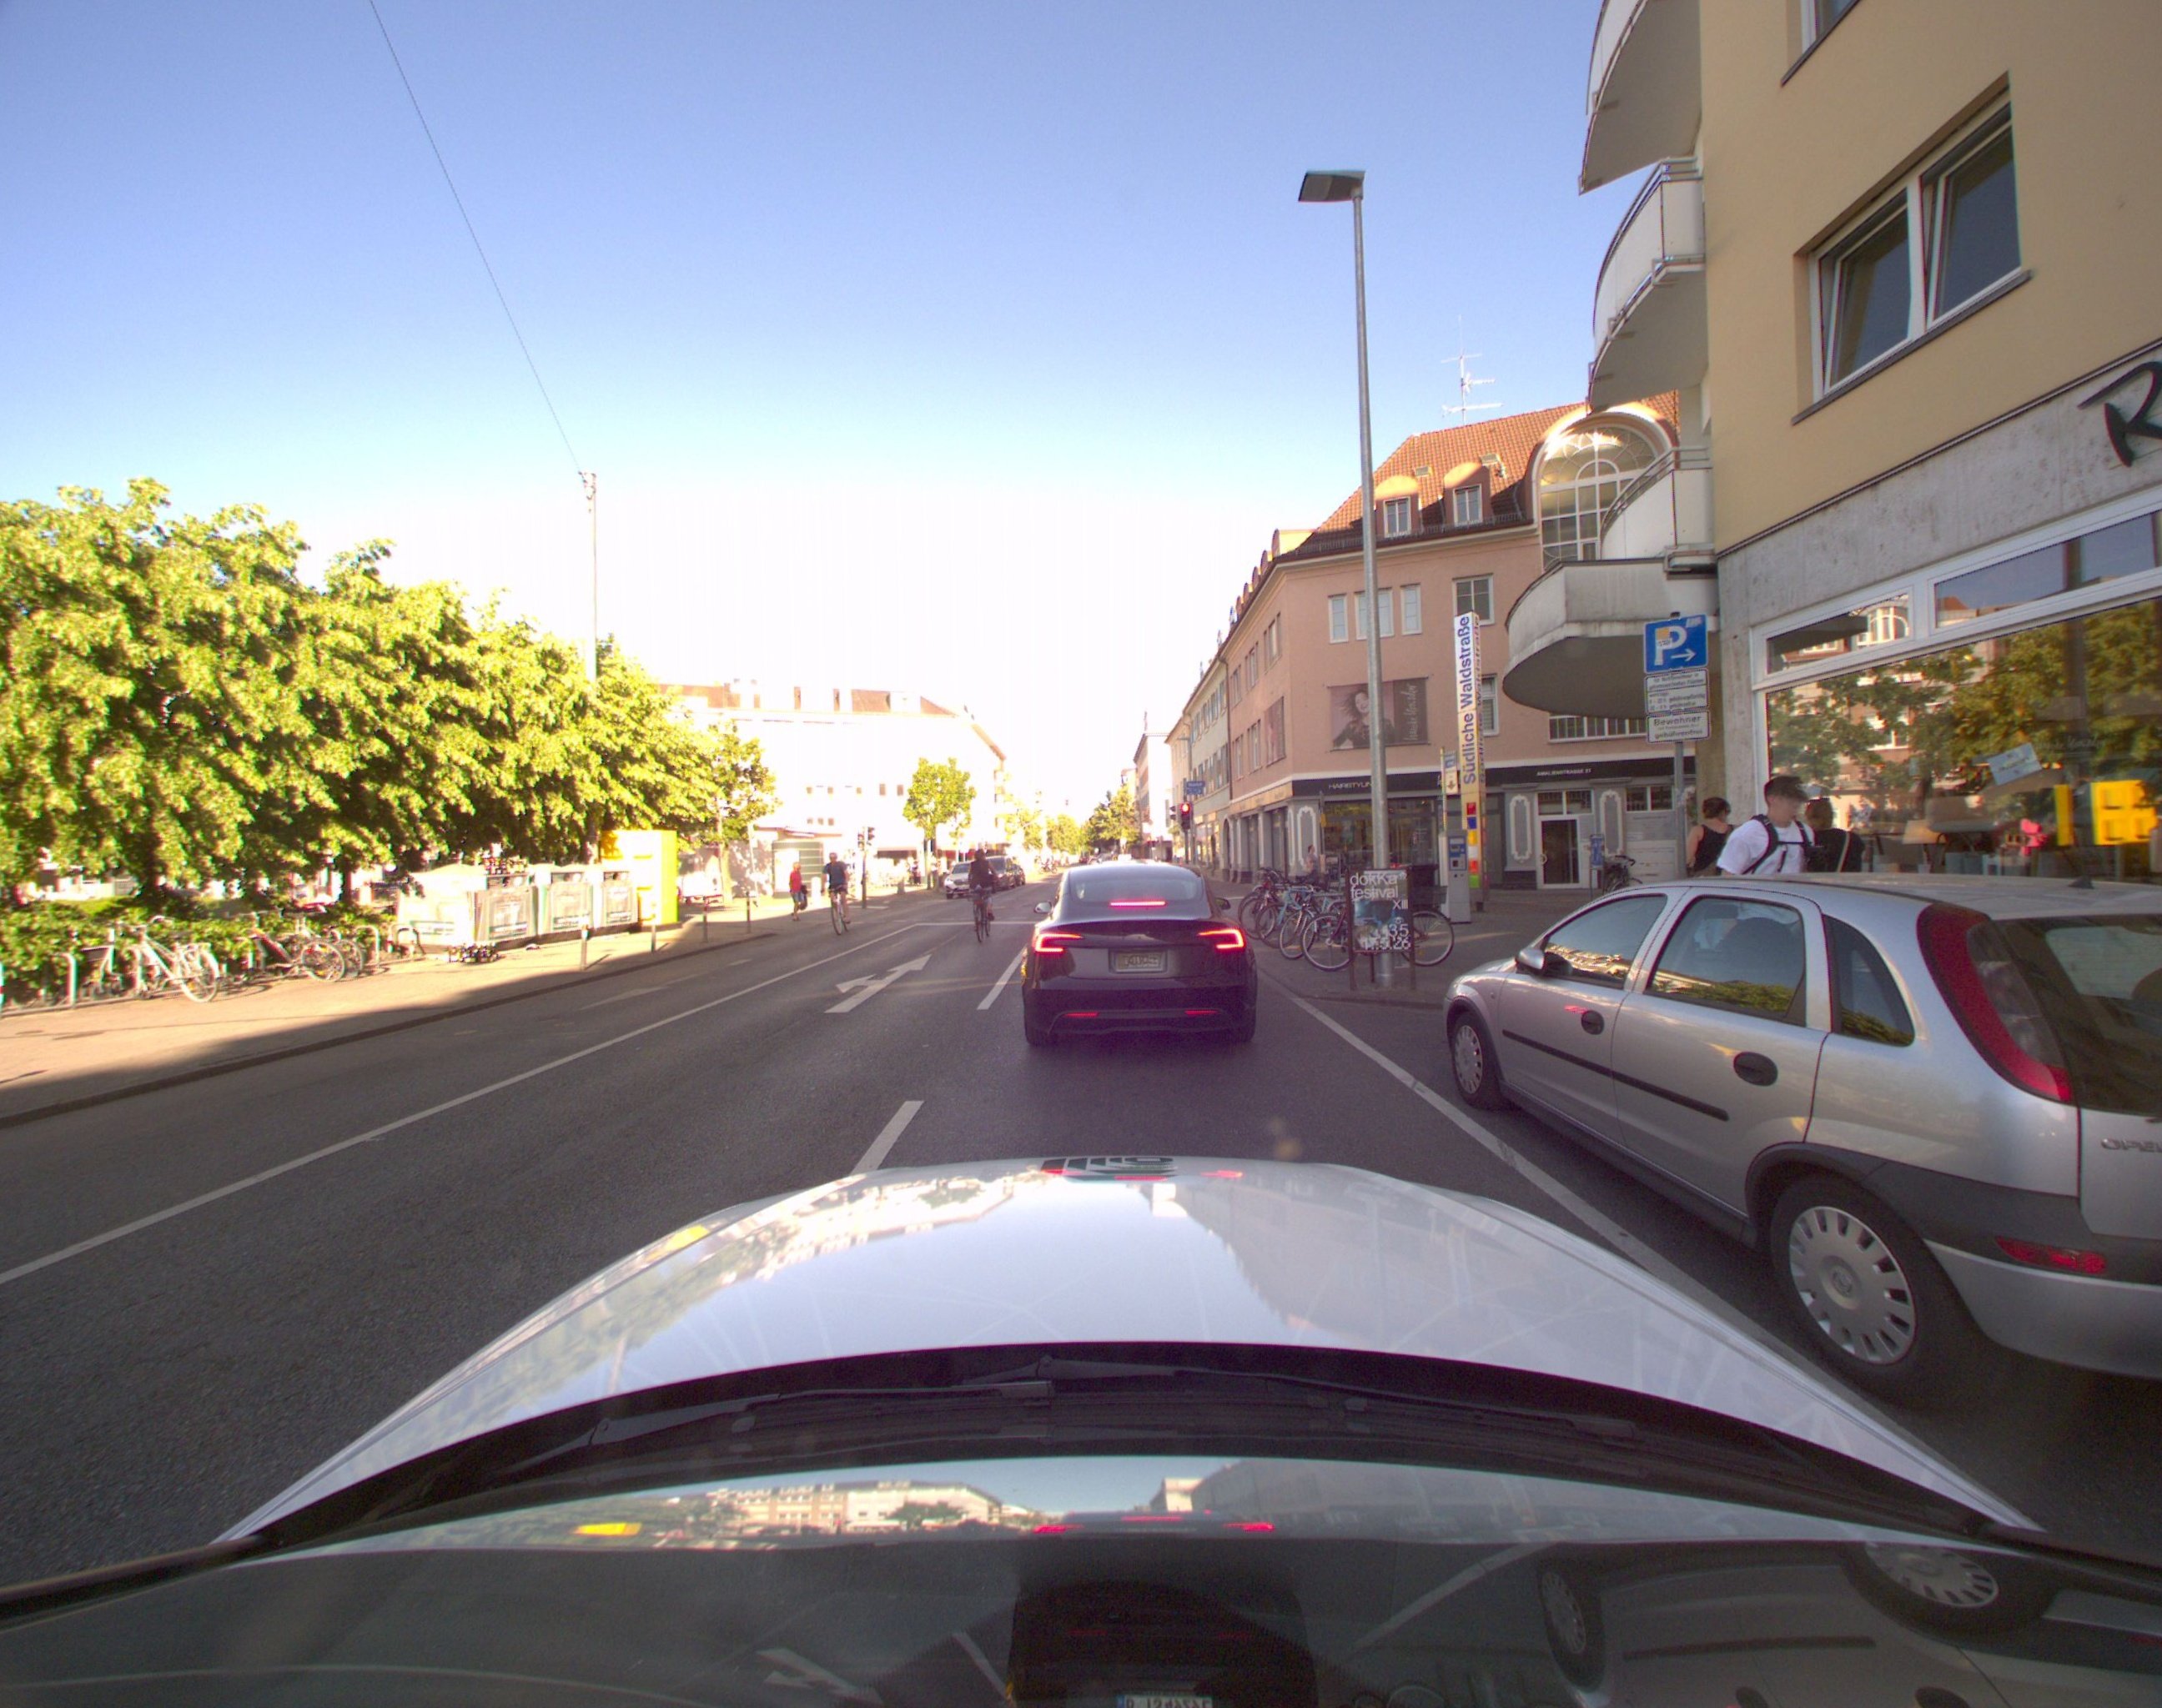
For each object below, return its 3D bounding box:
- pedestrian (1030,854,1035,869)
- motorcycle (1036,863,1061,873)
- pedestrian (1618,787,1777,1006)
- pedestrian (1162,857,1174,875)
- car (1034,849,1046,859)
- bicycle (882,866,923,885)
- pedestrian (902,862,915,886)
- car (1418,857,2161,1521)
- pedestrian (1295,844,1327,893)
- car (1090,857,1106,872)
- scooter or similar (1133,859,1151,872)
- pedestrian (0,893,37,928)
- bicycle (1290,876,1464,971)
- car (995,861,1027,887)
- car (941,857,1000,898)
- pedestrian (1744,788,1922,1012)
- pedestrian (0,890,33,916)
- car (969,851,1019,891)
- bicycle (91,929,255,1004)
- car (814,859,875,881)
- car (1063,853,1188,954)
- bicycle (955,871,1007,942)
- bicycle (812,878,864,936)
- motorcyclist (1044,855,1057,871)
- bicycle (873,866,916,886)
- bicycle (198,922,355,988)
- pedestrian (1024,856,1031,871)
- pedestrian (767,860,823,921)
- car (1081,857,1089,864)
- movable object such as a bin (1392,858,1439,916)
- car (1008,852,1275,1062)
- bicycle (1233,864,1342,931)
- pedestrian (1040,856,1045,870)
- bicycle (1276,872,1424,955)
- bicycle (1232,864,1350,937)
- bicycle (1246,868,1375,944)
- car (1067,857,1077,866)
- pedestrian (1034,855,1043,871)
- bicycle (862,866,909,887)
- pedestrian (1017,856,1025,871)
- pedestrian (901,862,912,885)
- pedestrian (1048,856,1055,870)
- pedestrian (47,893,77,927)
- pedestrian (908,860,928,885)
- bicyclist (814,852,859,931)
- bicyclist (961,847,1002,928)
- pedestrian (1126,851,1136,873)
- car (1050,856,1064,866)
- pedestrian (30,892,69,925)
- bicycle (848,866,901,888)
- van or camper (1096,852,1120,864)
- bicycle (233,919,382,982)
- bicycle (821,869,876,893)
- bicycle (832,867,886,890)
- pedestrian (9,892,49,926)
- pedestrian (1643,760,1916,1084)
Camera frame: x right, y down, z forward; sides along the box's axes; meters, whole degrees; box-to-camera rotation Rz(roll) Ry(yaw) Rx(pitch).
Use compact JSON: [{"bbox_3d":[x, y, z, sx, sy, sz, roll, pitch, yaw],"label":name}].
[{"bbox_3d":[-6.225,0.974,104.227,0.693,1.868,0.658,0,-1,-3],"label":"pedestrian"},{"bbox_3d":[-3.261,1.417,81.977,2.388,1.036,0.777,0,-1,-23],"label":"motorcycle"},{"bbox_3d":[5.627,0.376,7.493,0.677,1.849,0.895,-4,-1,6],"label":"pedestrian"},{"bbox_3d":[7.558,1.041,70.819,0.812,1.609,0.702,0,-1,-35],"label":"pedestrian"},{"bbox_3d":[-9.029,-0.018,180.140,2.266,2.014,4.720,0,-1,3],"label":"car"},{"bbox_3d":[-12.063,1.418,55.006,2.535,1.251,0.942,0,-1,-1],"label":"bicycle"},{"bbox_3d":[-13.066,1.497,61.654,0.846,1.760,0.702,0,-1,-17],"label":"pedestrian"},{"bbox_3d":[2.952,0.736,3.548,1.578,1.426,3.581,0,-1,2],"label":"car"},{"bbox_3d":[7.456,0.469,26.414,0.714,1.549,0.797,-1,-1,40],"label":"pedestrian"},{"bbox_3d":[2.186,1.334,106.302,2.029,1.788,4.005,-1,0,0],"label":"car"},{"bbox_3d":[5.120,0.972,68.588,1.339,1.134,0.804,0,-1,-23],"label":"scooter or similar"},{"bbox_3d":[-49.133,2.610,37.628,0.928,1.520,0.924,0,-1,-43],"label":"pedestrian"},{"bbox_3d":[3.627,0.843,10.085,1.875,1.044,0.653,-2,0,3],"label":"bicycle"},{"bbox_3d":[-4.266,1.202,50.049,1.455,1.430,3.607,-5,-1,2],"label":"car"},{"bbox_3d":[-4.893,1.013,36.600,1.818,1.565,4.302,-5,-1,2],"label":"car"},{"bbox_3d":[6.338,0.376,6.919,0.716,1.754,0.790,-4,-1,13],"label":"pedestrian"},{"bbox_3d":[-51.264,2.344,39.019,0.862,1.214,0.900,0,-1,-2],"label":"pedestrian"},{"bbox_3d":[-4.505,0.833,42.923,1.938,1.947,4.822,-1,0,2],"label":"car"},{"bbox_3d":[-11.470,1.415,10.308,1.560,0.886,0.470,0,-1,1],"label":"bicycle"},{"bbox_3d":[-21.240,1.426,73.102,5.213,1.866,1.871,-1,0,-20],"label":"car"},{"bbox_3d":[0.733,0.747,14.309,1.843,1.482,4.453,0,0,2],"label":"car"},{"bbox_3d":[-1.873,0.958,15.555,0.625,1.223,2.002,0,0,3],"label":"bicycle"},{"bbox_3d":[-5.545,1.185,18.685,0.615,1.162,1.955,-4,0,-3],"label":"bicycle"},{"bbox_3d":[-3.096,0.924,82.068,1.114,1.633,0.770,0,-1,-24],"label":"motorcyclist"},{"bbox_3d":[-12.009,1.398,52.579,2.535,1.251,0.942,0,-1,-1],"label":"bicycle"},{"bbox_3d":[-11.435,1.421,11.605,1.667,0.859,0.469,0,-1,-5],"label":"bicycle"},{"bbox_3d":[-6.381,1.128,97.640,0.734,1.868,0.787,0,-1,-15],"label":"pedestrian"},{"bbox_3d":[-8.329,1.053,23.753,1.102,1.719,1.065,-1,-1,13],"label":"pedestrian"},{"bbox_3d":[1.005,1.559,200.043,1.886,1.813,3.925,0,-1,0],"label":"car"},{"bbox_3d":[6.736,0.657,16.424,0.633,1.103,0.728,-4,-1,5],"label":"movable object such as a bin"},{"bbox_3d":[0.487,0.737,7.885,1.843,1.447,4.453,0,0,2],"label":"car"},{"bbox_3d":[3.728,0.781,14.774,1.806,1.152,0.653,-1,0,3],"label":"bicycle"},{"bbox_3d":[-5.441,1.261,115.068,0.695,1.868,0.906,0,-1,-10],"label":"pedestrian"},{"bbox_3d":[3.647,0.796,11.158,1.806,1.060,0.653,-1,0,3],"label":"bicycle"},{"bbox_3d":[3.487,0.773,13.644,1.806,1.152,0.653,-1,0,3],"label":"bicycle"},{"bbox_3d":[3.509,0.789,12.569,1.806,1.102,0.653,-1,0,3],"label":"bicycle"},{"bbox_3d":[-2.007,1.773,187.431,2.124,1.970,4.135,-1,0,2],"label":"car"},{"bbox_3d":[-4.910,1.096,94.965,0.726,1.868,0.796,-1,-1,30],"label":"pedestrian"},{"bbox_3d":[-12.064,1.384,50.303,2.655,1.259,0.942,0,-1,-1],"label":"bicycle"},{"bbox_3d":[-7.149,1.130,97.237,0.734,1.868,0.787,0,-1,-15],"label":"pedestrian"},{"bbox_3d":[-13.367,1.505,62.359,0.661,1.760,0.648,0,-1,-24],"label":"pedestrian"},{"bbox_3d":[-4.030,1.225,111.881,0.776,1.868,1.003,0,-1,-17],"label":"pedestrian"},{"bbox_3d":[-47.857,2.604,38.232,0.827,1.520,0.782,-1,-1,33],"label":"pedestrian"},{"bbox_3d":[-10.427,1.171,52.110,1.090,1.611,1.265,0,-1,-4],"label":"pedestrian"},{"bbox_3d":[-5.571,0.830,18.586,0.699,1.709,0.809,-5,0,-4],"label":"bicyclist"},{"bbox_3d":[-1.874,0.615,15.450,0.603,1.484,0.959,0,-1,3],"label":"bicyclist"},{"bbox_3d":[4.201,0.673,68.170,0.660,1.760,0.649,0,-1,-22],"label":"pedestrian"},{"bbox_3d":[-4.868,1.318,166.810,2.405,1.970,4.679,-1,0,2],"label":"car"},{"bbox_3d":[-50.817,2.679,40.124,1.029,1.520,1.023,0,-1,-43],"label":"pedestrian"},{"bbox_3d":[-12.164,1.361,47.986,2.867,1.270,0.942,0,-1,-1],"label":"bicycle"},{"bbox_3d":[5.625,0.848,167.662,4.832,2.438,1.851,-1,0,1],"label":"van or camper"},{"bbox_3d":[-11.470,1.423,12.104,1.663,0.859,0.469,0,-1,-5],"label":"bicycle"},{"bbox_3d":[-12.335,1.436,43.246,2.652,1.195,0.942,0,-1,-1],"label":"bicycle"},{"bbox_3d":[-12.403,1.368,45.590,2.772,1.274,0.933,0,-1,-2],"label":"bicycle"},{"bbox_3d":[-60.410,3.134,46.749,1.088,1.842,1.309,-1,-1,33],"label":"pedestrian"},{"bbox_3d":[4.360,0.398,5.188,0.805,1.823,0.984,-3,-1,5],"label":"pedestrian"}]
